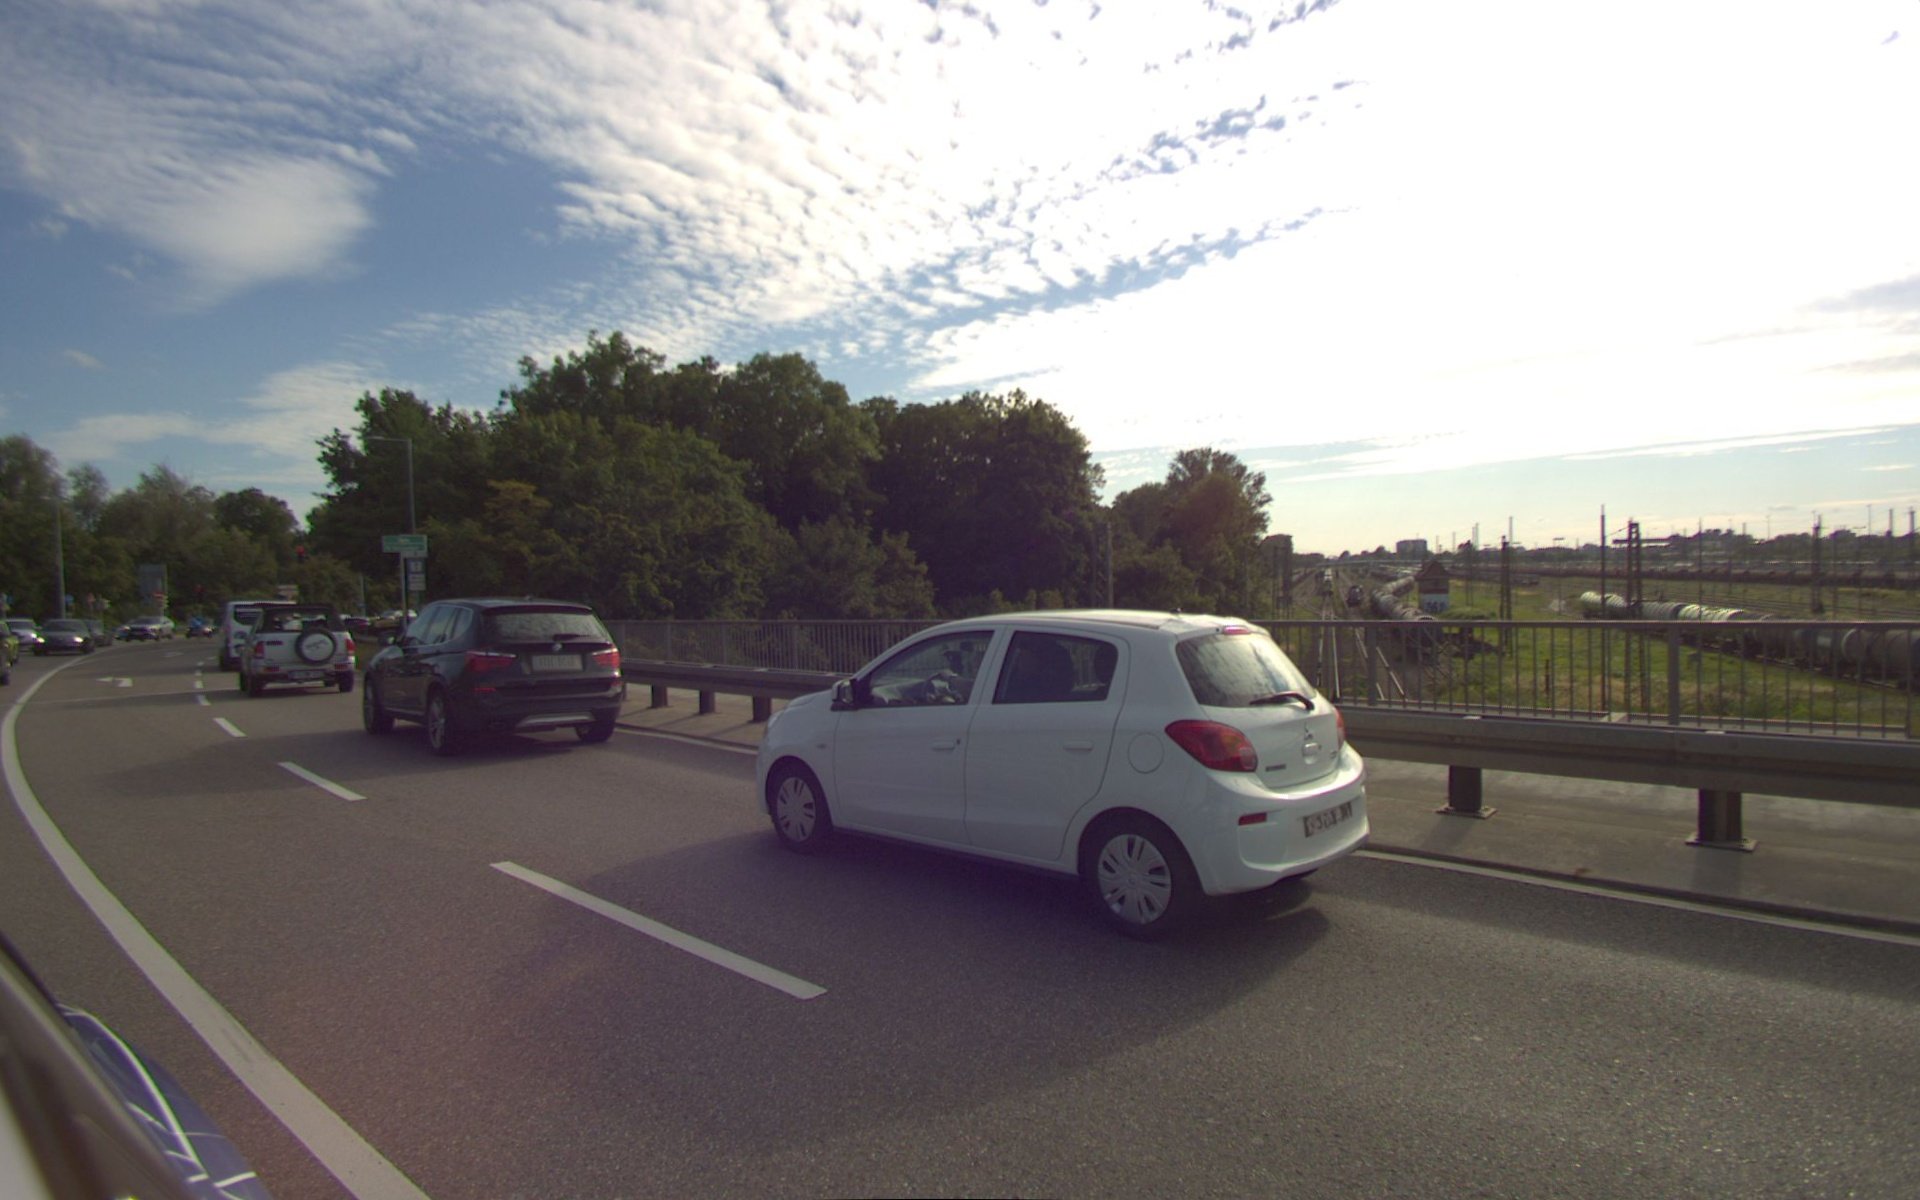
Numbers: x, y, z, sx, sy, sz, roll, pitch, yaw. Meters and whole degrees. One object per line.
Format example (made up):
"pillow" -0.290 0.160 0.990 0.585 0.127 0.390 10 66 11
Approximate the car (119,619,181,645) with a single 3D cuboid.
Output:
"car" -53.743 2.098 67.214 1.965 1.612 4.295 0 0 -20

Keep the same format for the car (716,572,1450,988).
"car" 0.430 0.711 5.761 3.923 1.557 1.664 -1 -1 43

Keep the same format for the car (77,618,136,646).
"car" -44.298 1.624 52.598 1.663 1.333 3.796 0 0 -30

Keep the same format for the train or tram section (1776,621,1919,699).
"train or tram section" 64.457 4.036 73.077 3.072 4.748 16.643 -1 0 19

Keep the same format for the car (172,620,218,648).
"car" -58.136 2.532 77.005 1.965 2.029 4.287 0 0 -26

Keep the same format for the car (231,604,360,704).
"car" -13.247 1.001 20.086 1.751 1.759 3.844 0 -1 -39

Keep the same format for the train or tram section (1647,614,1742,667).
"train or tram section" 75.271 3.959 104.248 3.072 4.748 16.643 -1 0 19

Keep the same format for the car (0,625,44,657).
"car" -42.352 1.798 45.330 1.665 1.333 3.792 0 0 -38

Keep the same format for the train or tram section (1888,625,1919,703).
"train or tram section" 59.095 3.941 57.343 3.072 4.748 16.643 -1 0 19

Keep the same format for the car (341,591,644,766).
"car" -5.710 0.799 12.025 1.848 1.678 4.633 0 -1 -44

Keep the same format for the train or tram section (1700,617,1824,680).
"train or tram section" 69.908 4.018 88.838 3.072 4.748 16.643 -1 0 19

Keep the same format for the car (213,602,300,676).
"car" -20.812 1.093 29.890 1.959 1.979 5.059 0 -1 -36

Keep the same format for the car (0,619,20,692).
"car" -21.250 1.180 21.218 1.790 1.518 4.401 0 -1 -37

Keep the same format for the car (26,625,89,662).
"car" -36.125 1.714 40.568 1.665 1.333 3.792 0 0 -38
